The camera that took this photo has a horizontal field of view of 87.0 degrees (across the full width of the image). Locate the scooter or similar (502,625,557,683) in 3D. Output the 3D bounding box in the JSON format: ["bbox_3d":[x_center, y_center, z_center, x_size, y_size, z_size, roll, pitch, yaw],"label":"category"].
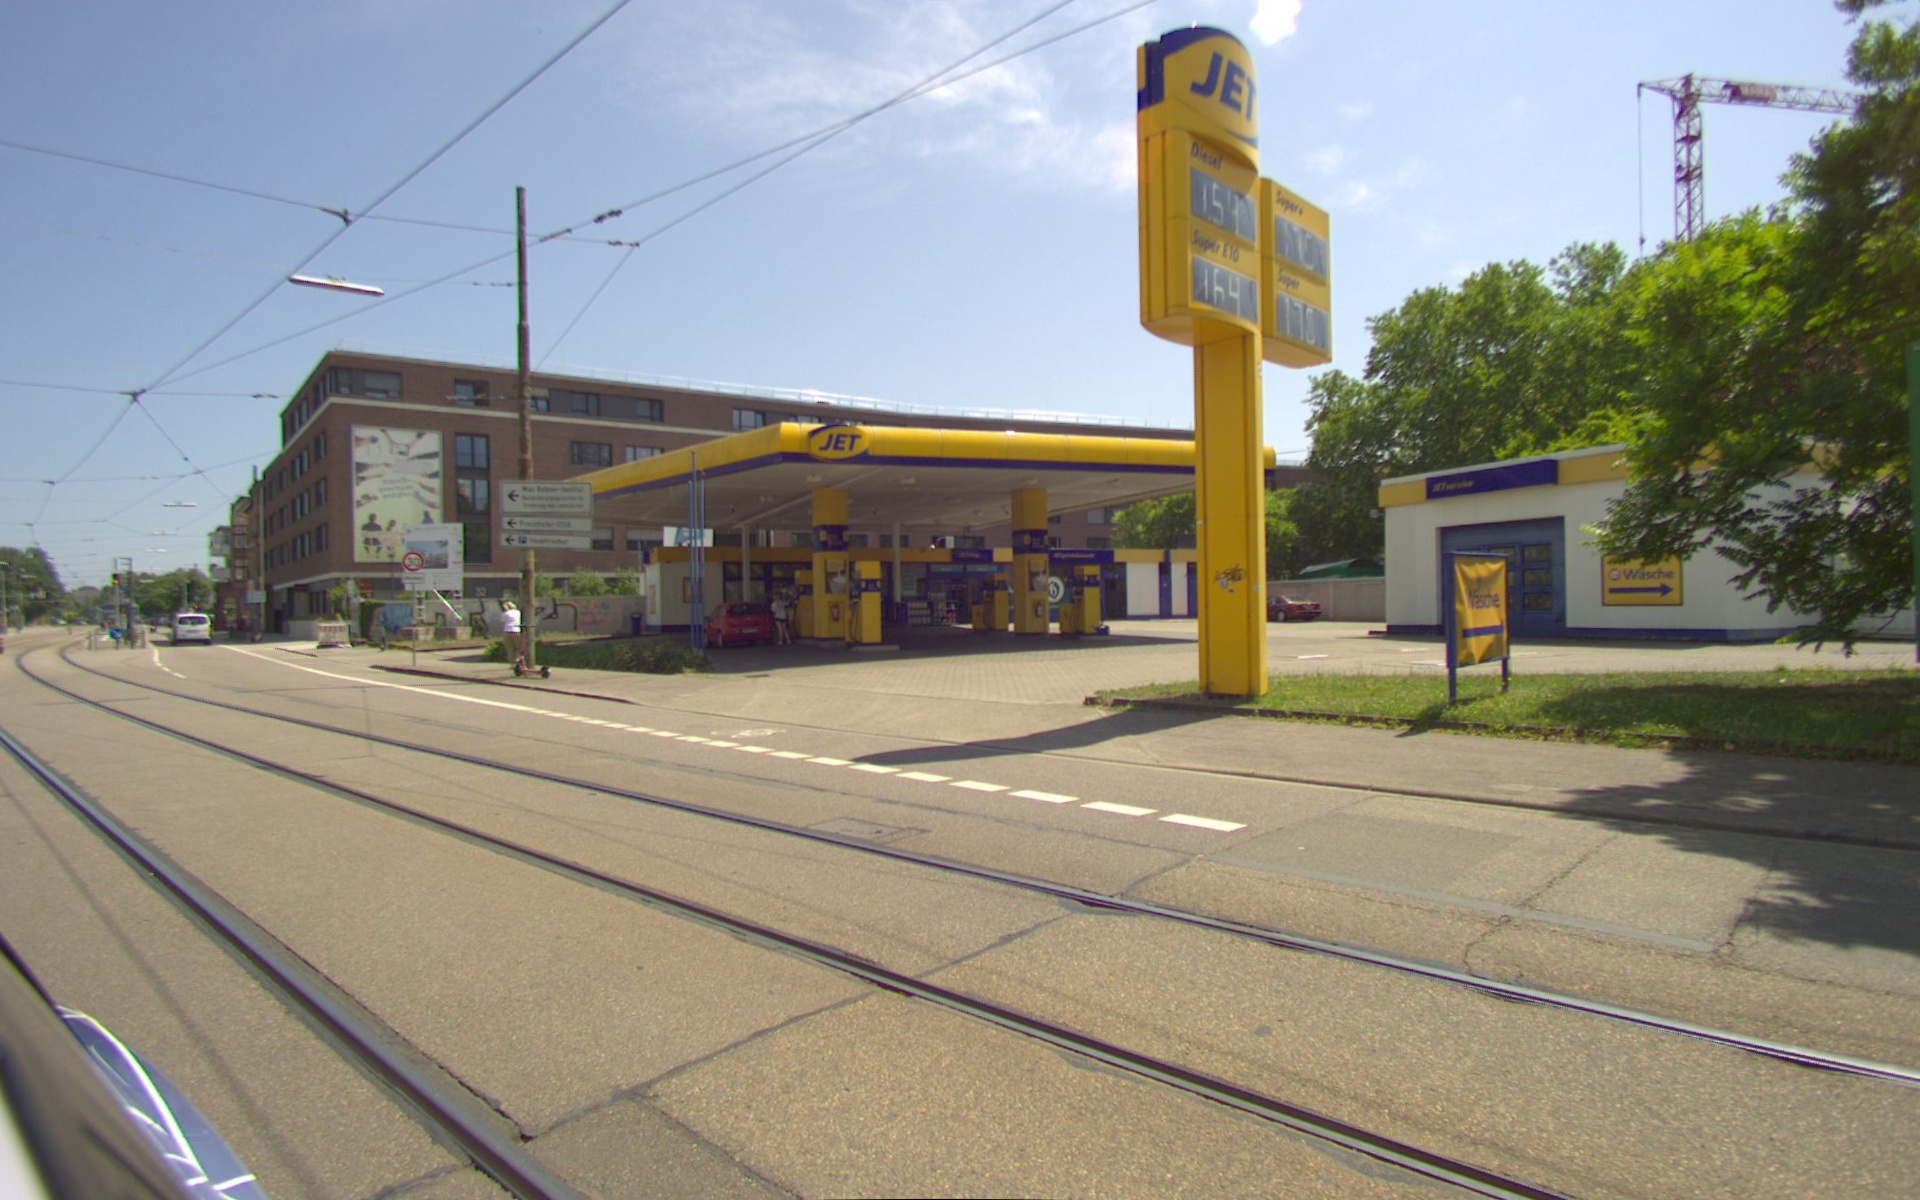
[{"bbox_3d":[-9.528,1.180,22.385,1.375,1.209,0.513,-2,1,40],"label":"scooter or similar"}]

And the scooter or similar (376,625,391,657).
[{"bbox_3d":[-24.037,1.679,42.185,0.340,1.274,1.246,-2,1,-23],"label":"scooter or similar"}]

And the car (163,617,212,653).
[{"bbox_3d":[-44.103,1.972,57.750,1.969,1.813,4.561,-3,2,-39],"label":"car"}]

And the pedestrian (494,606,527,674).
[{"bbox_3d":[-11.626,1.019,26.173,0.616,1.704,0.724,-1,0,-34],"label":"pedestrian"}]

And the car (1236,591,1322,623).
[{"bbox_3d":[15.478,0.339,49.320,1.690,1.420,4.254,-1,0,-21],"label":"car"}]

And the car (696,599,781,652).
[{"bbox_3d":[-7.305,0.833,33.115,1.800,1.516,4.212,-3,0,-24],"label":"car"}]

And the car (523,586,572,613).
[{"bbox_3d":[-24.127,-0.033,59.091,1.709,1.479,4.010,-2,1,-35],"label":"car"}]

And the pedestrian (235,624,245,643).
[{"bbox_3d":[-60.289,2.818,84.760,0.596,1.608,0.716,-1,-1,-42],"label":"pedestrian"}]
